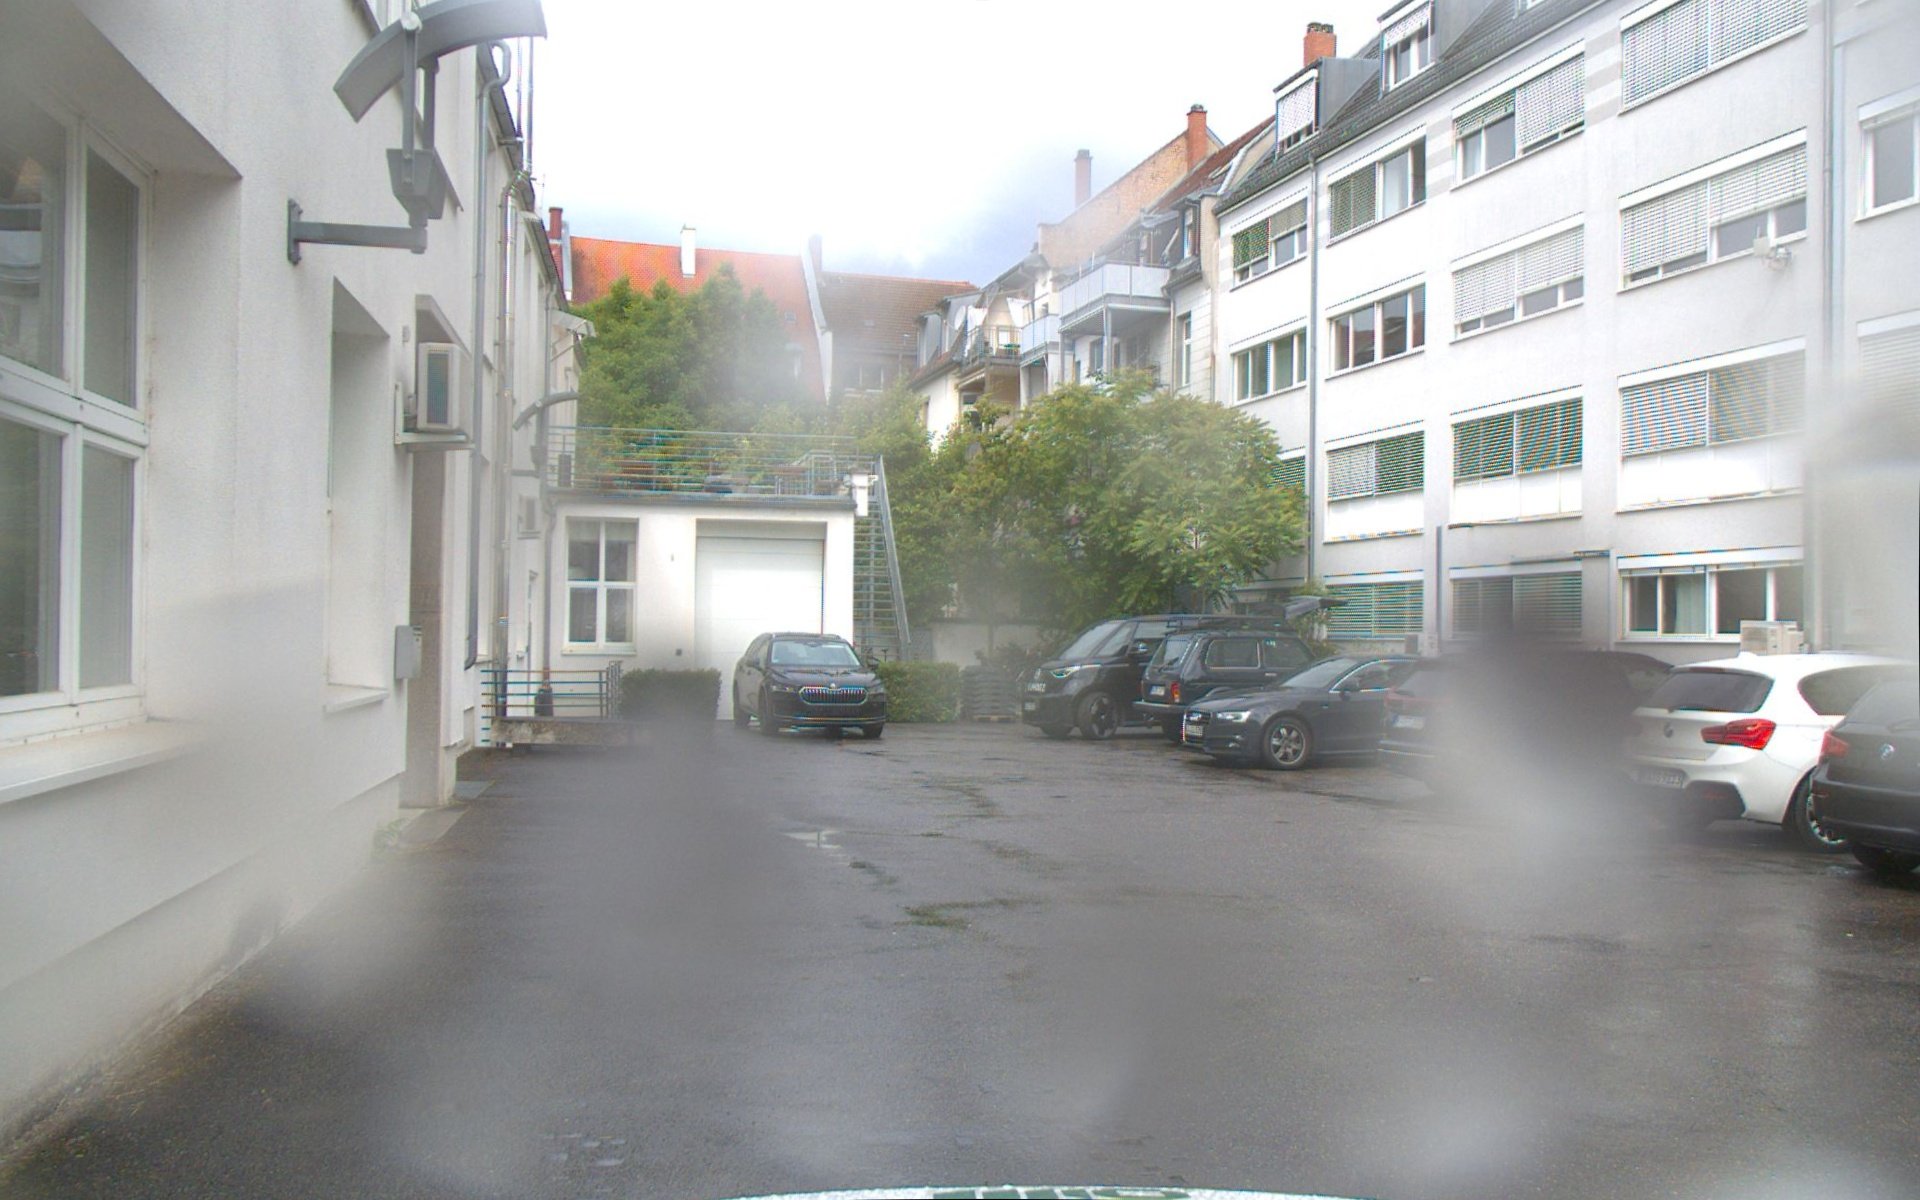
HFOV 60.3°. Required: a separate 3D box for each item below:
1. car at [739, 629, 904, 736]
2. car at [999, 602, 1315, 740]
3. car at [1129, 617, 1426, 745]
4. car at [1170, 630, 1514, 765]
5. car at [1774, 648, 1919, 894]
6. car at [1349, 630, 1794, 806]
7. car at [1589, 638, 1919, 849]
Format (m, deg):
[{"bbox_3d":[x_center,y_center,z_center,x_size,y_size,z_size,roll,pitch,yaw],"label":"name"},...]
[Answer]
[{"bbox_3d":[-2.184,1.188,25.083,1.945,1.469,3.987,1,-1,-13],"label":"car"},{"bbox_3d":[3.136,1.061,26.505,4.569,2.038,2.211,0,-1,-22],"label":"car"},{"bbox_3d":[4.566,1.142,24.025,3.841,1.717,1.811,0,-2,-13],"label":"car"},{"bbox_3d":[4.758,1.176,20.748,3.845,1.540,1.744,0,-2,-16],"label":"car"},{"bbox_3d":[7.555,1.022,10.719,3.922,1.427,1.765,-1,-1,-16],"label":"car"},{"bbox_3d":[6.028,1.099,16.401,3.848,1.540,1.810,0,-2,-18],"label":"car"},{"bbox_3d":[7.265,1.053,13.217,3.923,1.484,1.765,0,-1,-17],"label":"car"}]
